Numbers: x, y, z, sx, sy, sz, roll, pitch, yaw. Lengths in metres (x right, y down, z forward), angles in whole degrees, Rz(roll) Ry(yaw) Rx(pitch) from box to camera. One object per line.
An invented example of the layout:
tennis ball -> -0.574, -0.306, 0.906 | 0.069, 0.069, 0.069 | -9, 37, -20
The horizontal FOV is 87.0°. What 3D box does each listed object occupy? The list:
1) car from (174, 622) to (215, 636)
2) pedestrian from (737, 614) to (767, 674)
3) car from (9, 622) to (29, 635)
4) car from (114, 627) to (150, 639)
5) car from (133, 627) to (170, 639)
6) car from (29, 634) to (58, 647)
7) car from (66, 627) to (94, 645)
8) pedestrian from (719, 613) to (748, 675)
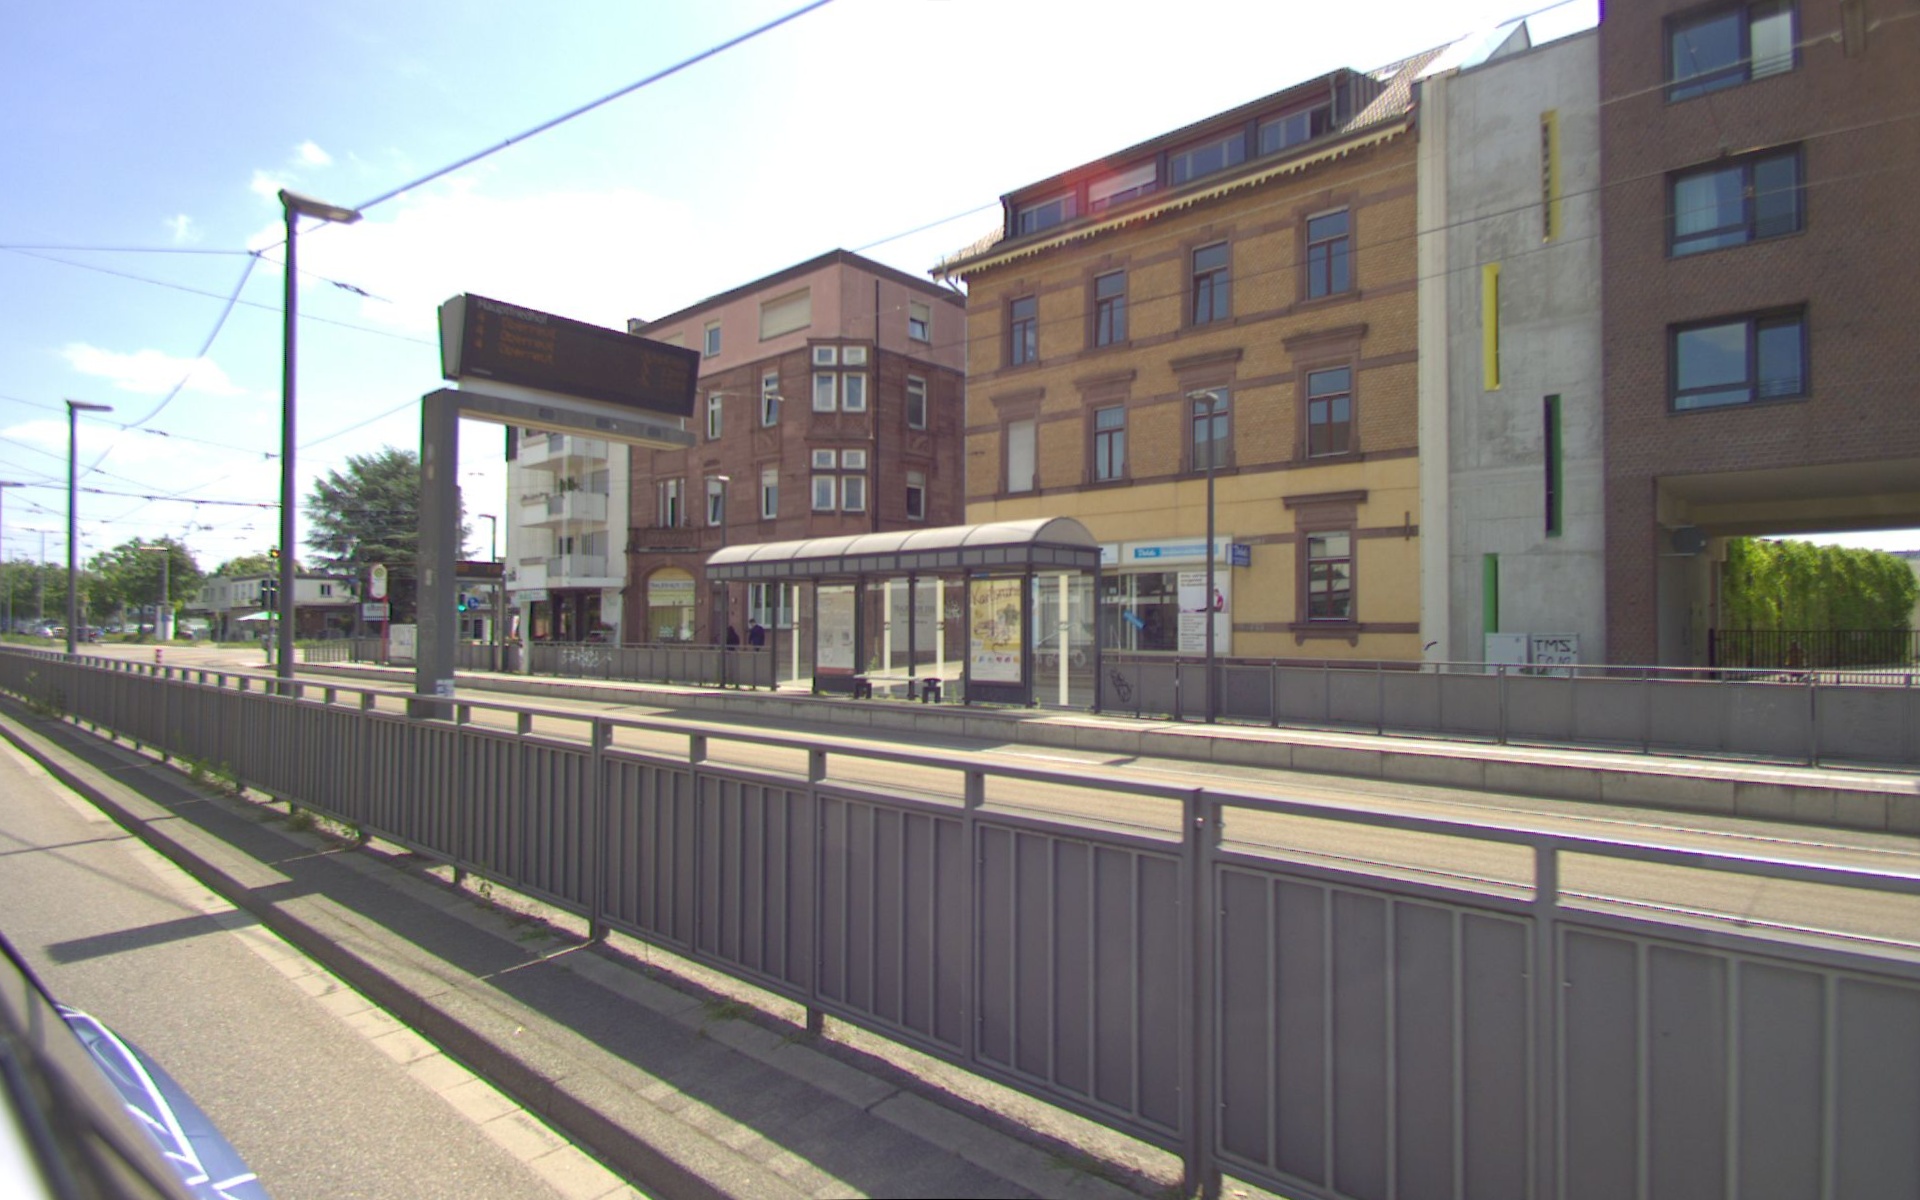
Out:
car -> -141.825, 5.390, 187.576 | 2.258, 2.500, 5.626 | -1, -3, 39
pedestrian -> -7.105, 1.492, 34.508 | 0.810, 2.029, 0.611 | -2, -3, 40
car -> -157.862, 4.757, 169.784 | 4.486, 2.117, 2.045 | -1, 0, 40
car -> -124.320, 4.955, 151.923 | 1.803, 1.749, 3.944 | -1, -4, 42
car -> -119.197, 4.910, 149.234 | 1.902, 1.749, 3.944 | -1, -3, 42
car -> -106.612, 4.706, 117.732 | 4.399, 1.482, 1.972 | -2, -3, 41
car -> -87.307, 3.598, 100.401 | 4.280, 1.696, 1.704 | -2, -4, 44
pedestrian -> -7.594, 1.463, 33.883 | 0.684, 2.029, 0.670 | -1, -1, 40
